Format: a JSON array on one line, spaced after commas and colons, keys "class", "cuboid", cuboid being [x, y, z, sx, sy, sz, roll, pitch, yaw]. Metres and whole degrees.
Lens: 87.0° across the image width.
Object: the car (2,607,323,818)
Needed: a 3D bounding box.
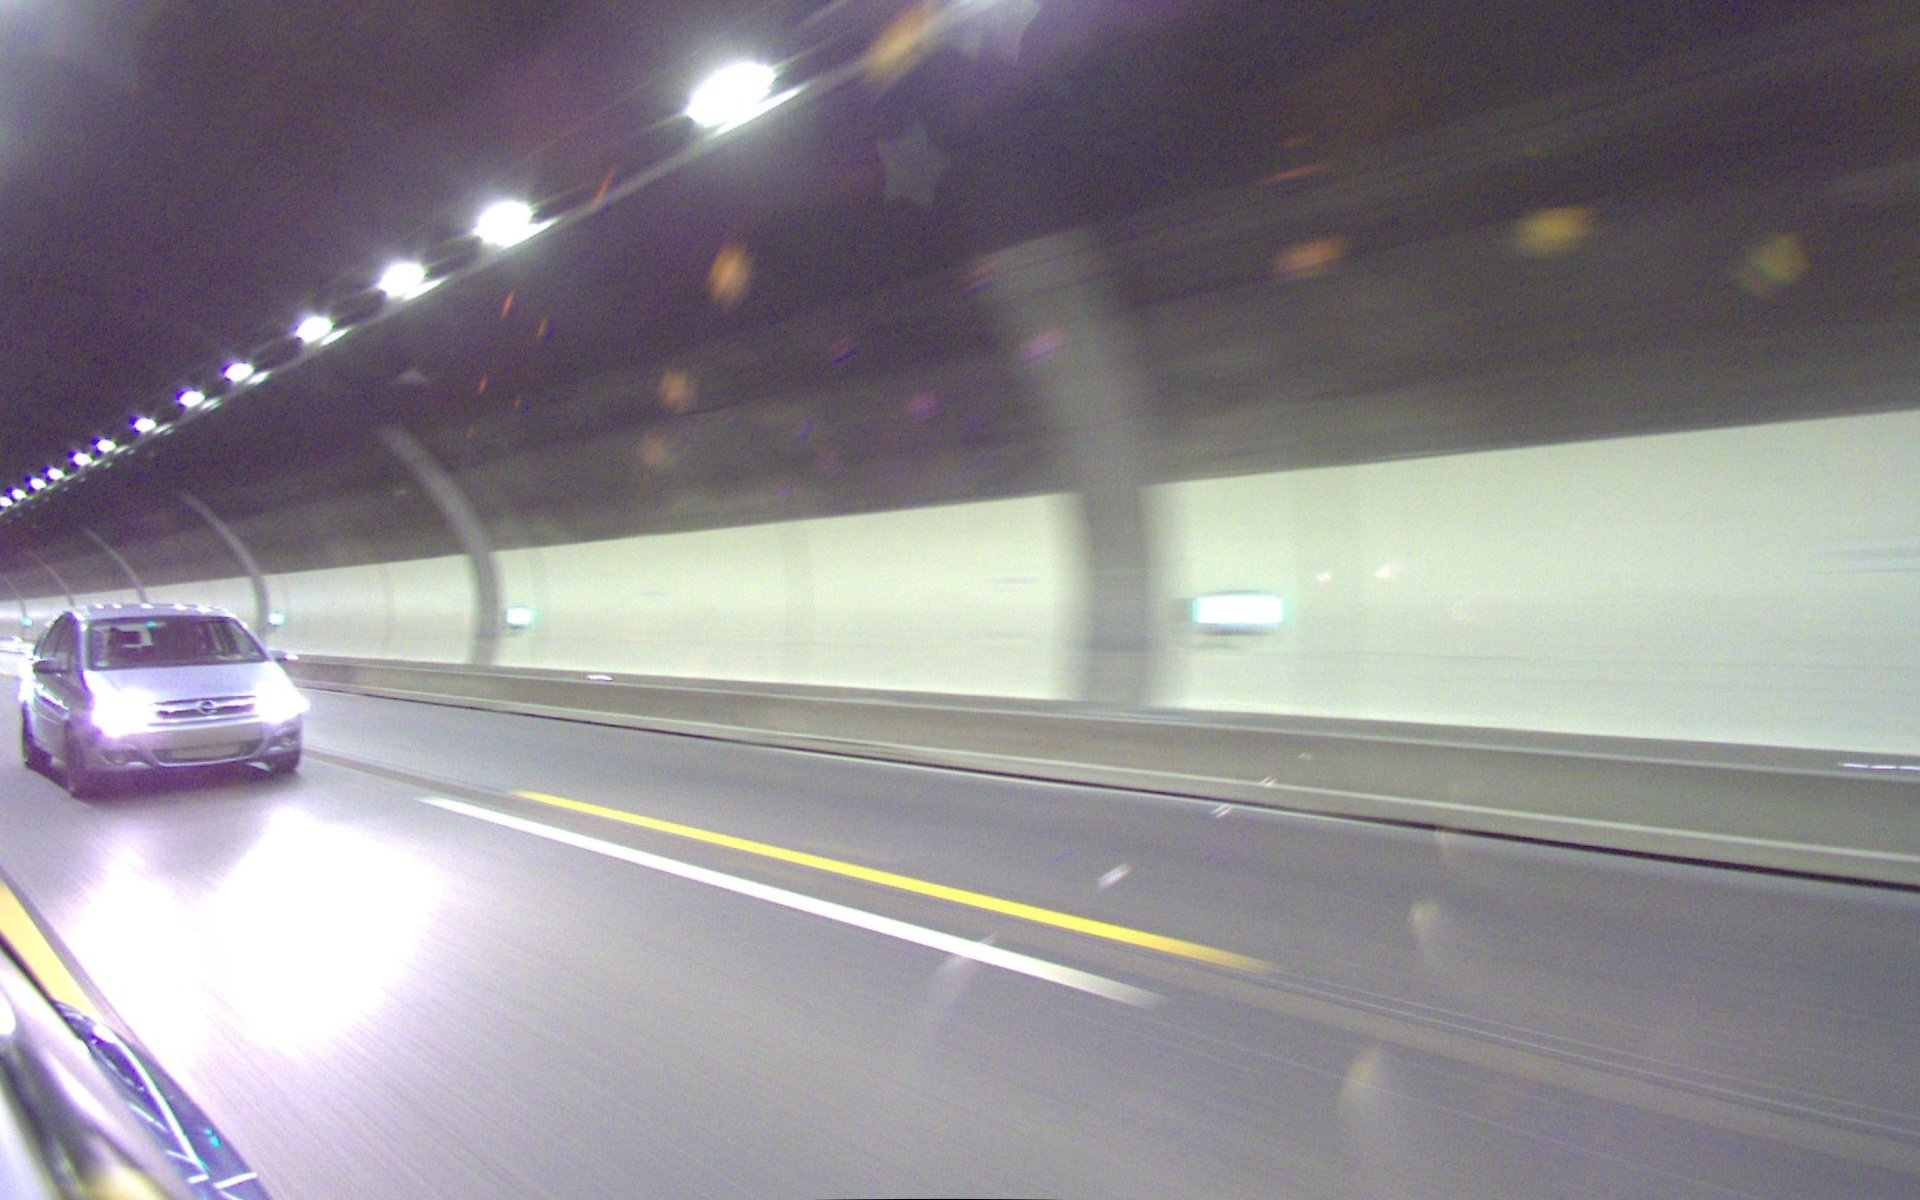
[{"class": "car", "cuboid": [-7.714, 0.879, 9.645, 4.096, 1.584, 1.743, -1, -1, 42]}]
